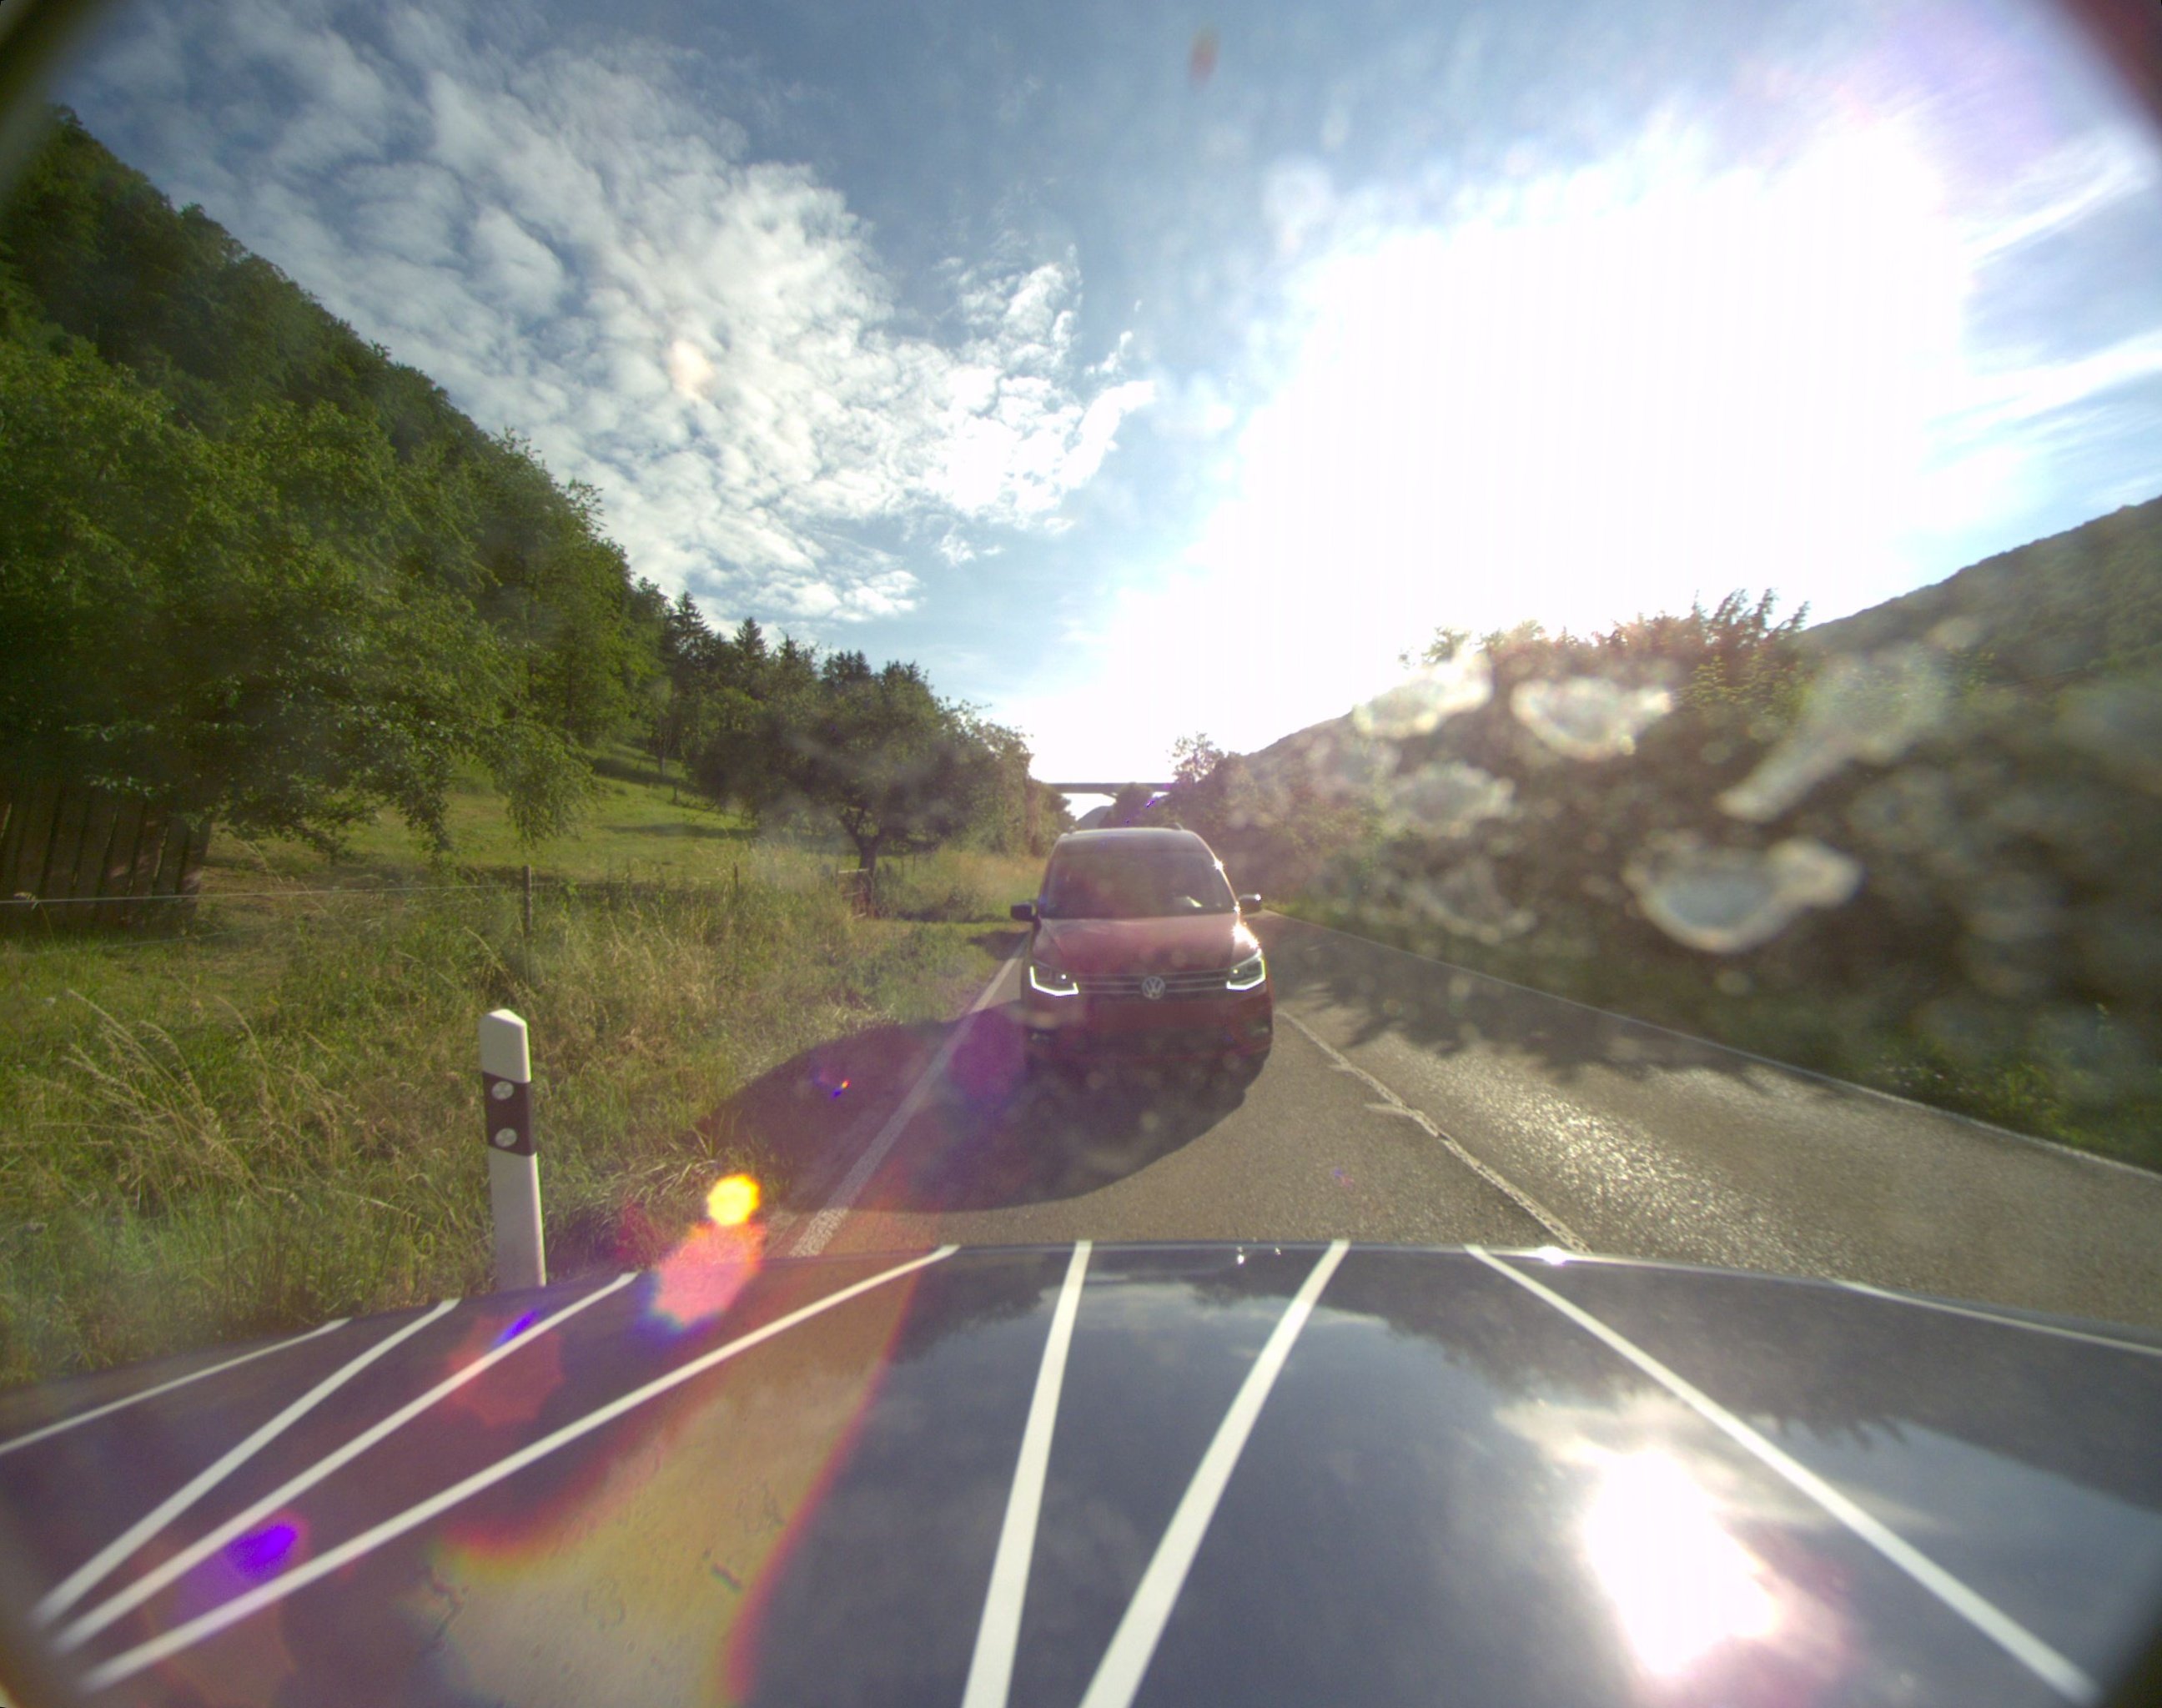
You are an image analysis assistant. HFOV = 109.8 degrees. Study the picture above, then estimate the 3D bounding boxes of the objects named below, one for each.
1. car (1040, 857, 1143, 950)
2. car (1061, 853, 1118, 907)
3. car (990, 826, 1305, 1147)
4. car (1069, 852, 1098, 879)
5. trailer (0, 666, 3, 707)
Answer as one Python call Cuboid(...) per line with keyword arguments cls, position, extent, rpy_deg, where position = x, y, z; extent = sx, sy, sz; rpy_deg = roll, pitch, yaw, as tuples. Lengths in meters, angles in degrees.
Cuboid(cls="car", position=(0.215, 0.882, 15.640), extent=(1.753, 1.513, 4.288), rpy_deg=(-3, 0, 1))
Cuboid(cls="car", position=(0.309, 0.841, 26.619), extent=(1.753, 1.608, 4.288), rpy_deg=(-3, 0, 1))
Cuboid(cls="car", position=(0.423, 0.772, 6.621), extent=(1.753, 1.799, 4.288), rpy_deg=(-3, 0, 1))
Cuboid(cls="car", position=(0.177, 0.711, 50.925), extent=(1.753, 1.608, 4.288), rpy_deg=(-3, 0, 1))
Cuboid(cls="trailer", position=(-23.845, -2.864, 13.402), extent=(2.158, 2.542, 5.248), rpy_deg=(1, -3, -3))
